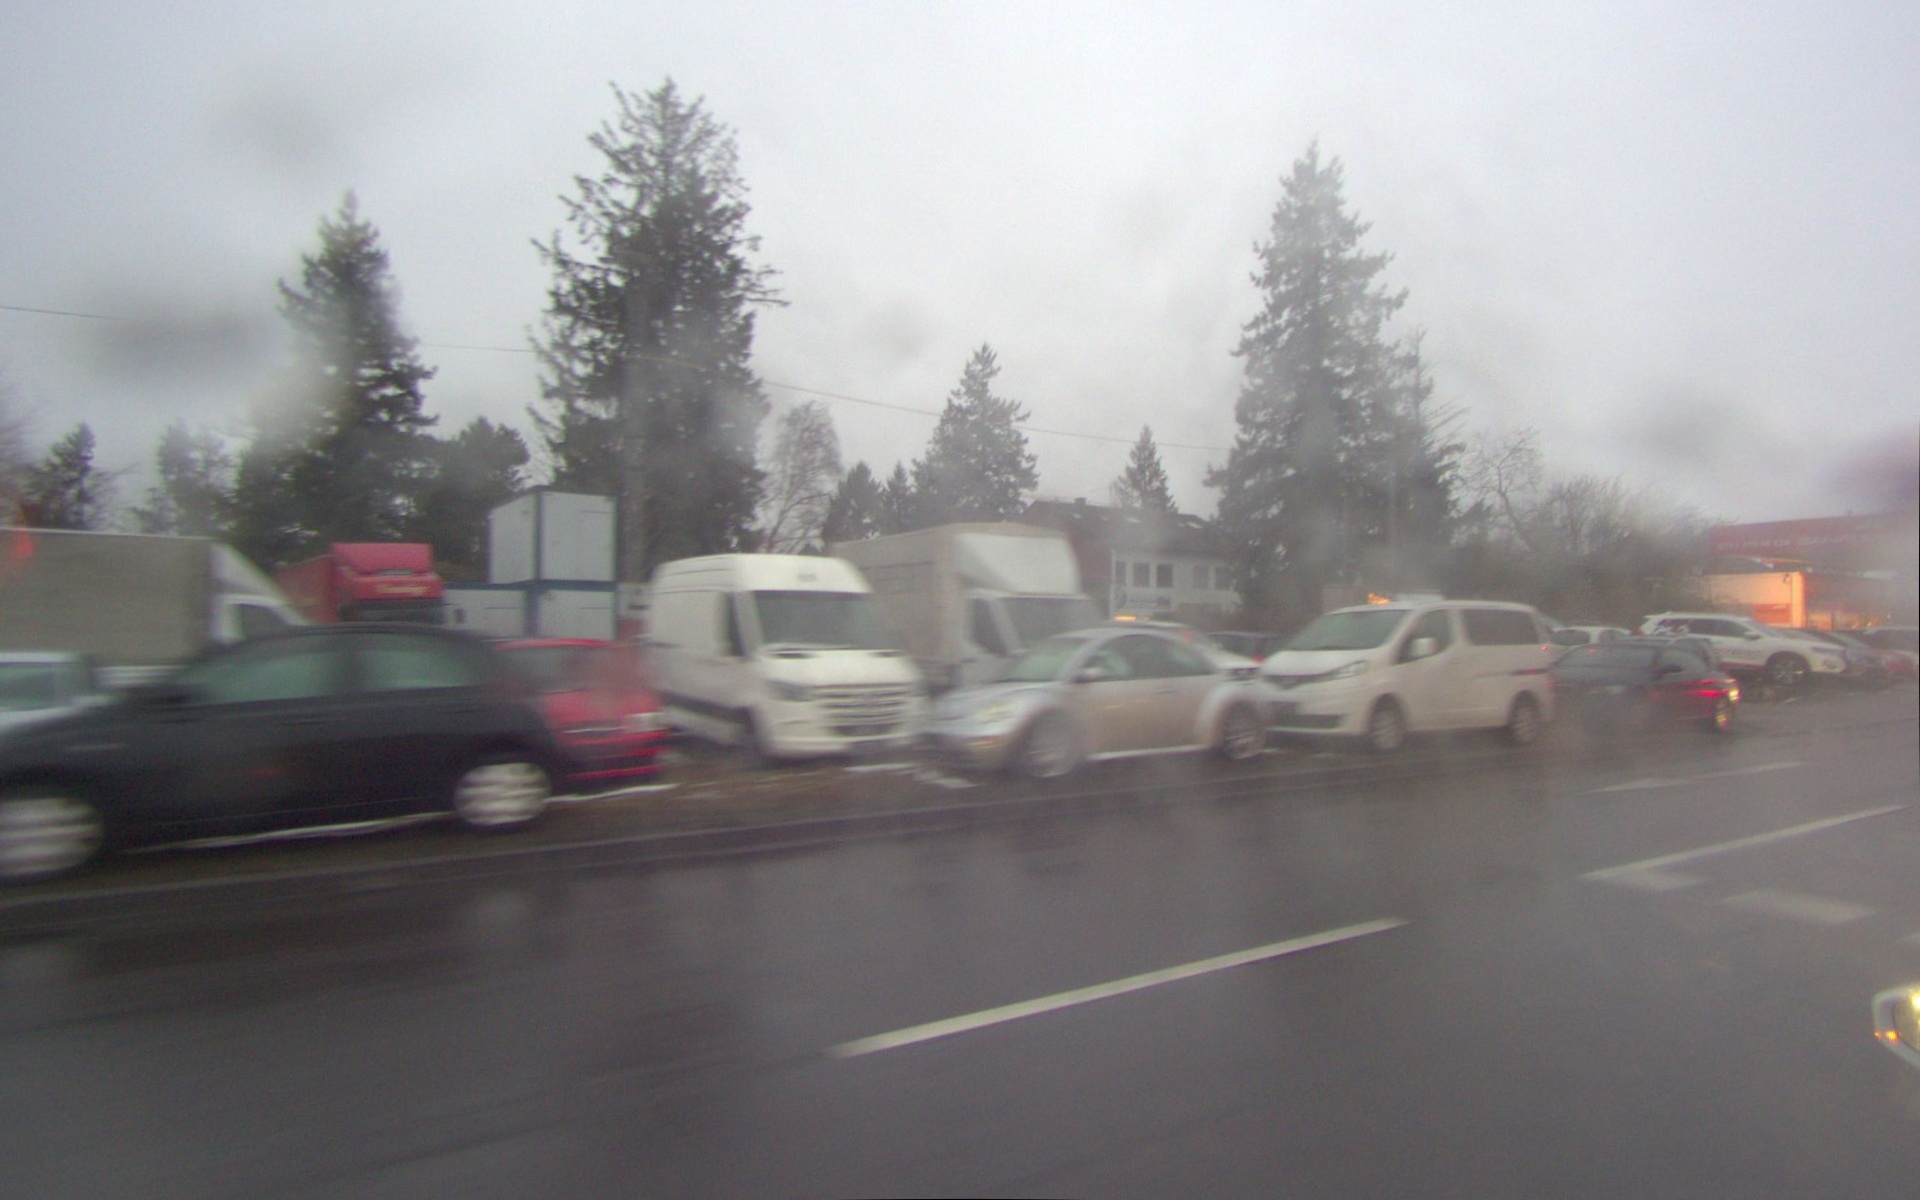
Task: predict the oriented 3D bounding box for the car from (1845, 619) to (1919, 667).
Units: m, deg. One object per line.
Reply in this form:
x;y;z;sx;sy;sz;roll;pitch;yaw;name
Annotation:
33.835;1.504;35.068;1.917;1.672;4.031;1;-1;-28;car

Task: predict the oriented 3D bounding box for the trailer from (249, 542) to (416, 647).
-19.371;-0.163;30.607;2.205;2.709;10.369;1;0;-44;trailer

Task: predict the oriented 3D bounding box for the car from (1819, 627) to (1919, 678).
29.945;1.666;31.887;1.757;1.479;3.750;1;0;-32;car

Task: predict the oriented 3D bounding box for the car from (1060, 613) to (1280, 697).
3.859;0.971;19.097;1.795;1.396;4.025;1;-1;-33;car

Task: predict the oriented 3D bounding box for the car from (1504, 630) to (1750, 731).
10.154;1.213;15.209;4.211;1.338;1.561;3;-4;-33;car

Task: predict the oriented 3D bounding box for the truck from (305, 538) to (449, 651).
-15.513;-0.129;26.620;2.219;2.732;4.662;1;0;-44;truck

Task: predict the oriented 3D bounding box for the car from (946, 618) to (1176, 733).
1.665;1.226;17.860;2.004;1.756;4.025;1;-1;-33;car

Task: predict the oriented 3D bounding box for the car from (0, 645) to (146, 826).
-9.098;1.171;9.490;1.823;1.401;3.962;-1;-1;-34;car

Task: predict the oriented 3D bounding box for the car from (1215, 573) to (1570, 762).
5.534;0.779;12.736;4.429;2.040;1.827;1;-1;-29;car

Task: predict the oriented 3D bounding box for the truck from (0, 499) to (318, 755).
-13.072;0.432;14.997;5.793;3.499;2.018;1;-3;-35;truck

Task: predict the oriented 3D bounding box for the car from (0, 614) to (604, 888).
-4.508;0.857;6.839;3.698;1.439;1.643;-1;-1;-30;car

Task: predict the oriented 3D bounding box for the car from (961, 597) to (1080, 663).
2.198;1.082;37.517;2.246;2.311;4.199;1;-1;-37;car

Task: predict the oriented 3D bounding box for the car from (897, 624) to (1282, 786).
1.396;0.969;10.535;3.793;1.431;1.643;1;-1;-29;car

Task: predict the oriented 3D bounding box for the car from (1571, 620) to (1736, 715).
12.929;1.212;18.730;2.829;1.666;1.169;1;-2;-23;car

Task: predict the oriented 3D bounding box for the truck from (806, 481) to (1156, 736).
-0.063;0.170;16.067;2.308;3.184;6.823;1;-1;-31;truck

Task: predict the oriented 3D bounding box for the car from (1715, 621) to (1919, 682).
24.083;1.371;28.155;1.804;1.518;4.316;1;-1;-29;car

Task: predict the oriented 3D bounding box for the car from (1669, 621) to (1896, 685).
21.890;1.356;26.932;1.969;1.518;4.319;1;-1;-27;car

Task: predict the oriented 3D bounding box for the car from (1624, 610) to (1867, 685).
19.845;1.129;25.574;1.990;1.699;4.506;1;-1;-34;car

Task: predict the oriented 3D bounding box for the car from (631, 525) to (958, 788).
-2.520;0.651;13.360;2.172;2.673;5.999;1;-2;-32;car

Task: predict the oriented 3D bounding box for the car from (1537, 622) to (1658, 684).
18.813;1.527;29.593;3.667;1.699;1.660;1;-1;-33;car

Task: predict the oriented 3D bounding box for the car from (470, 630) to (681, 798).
-4.256;1.086;10.880;1.483;1.512;3.208;1;-2;-33;car

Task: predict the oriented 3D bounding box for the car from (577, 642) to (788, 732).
-4.903;1.479;17.847;3.308;1.386;1.597;1;-1;-33;car
